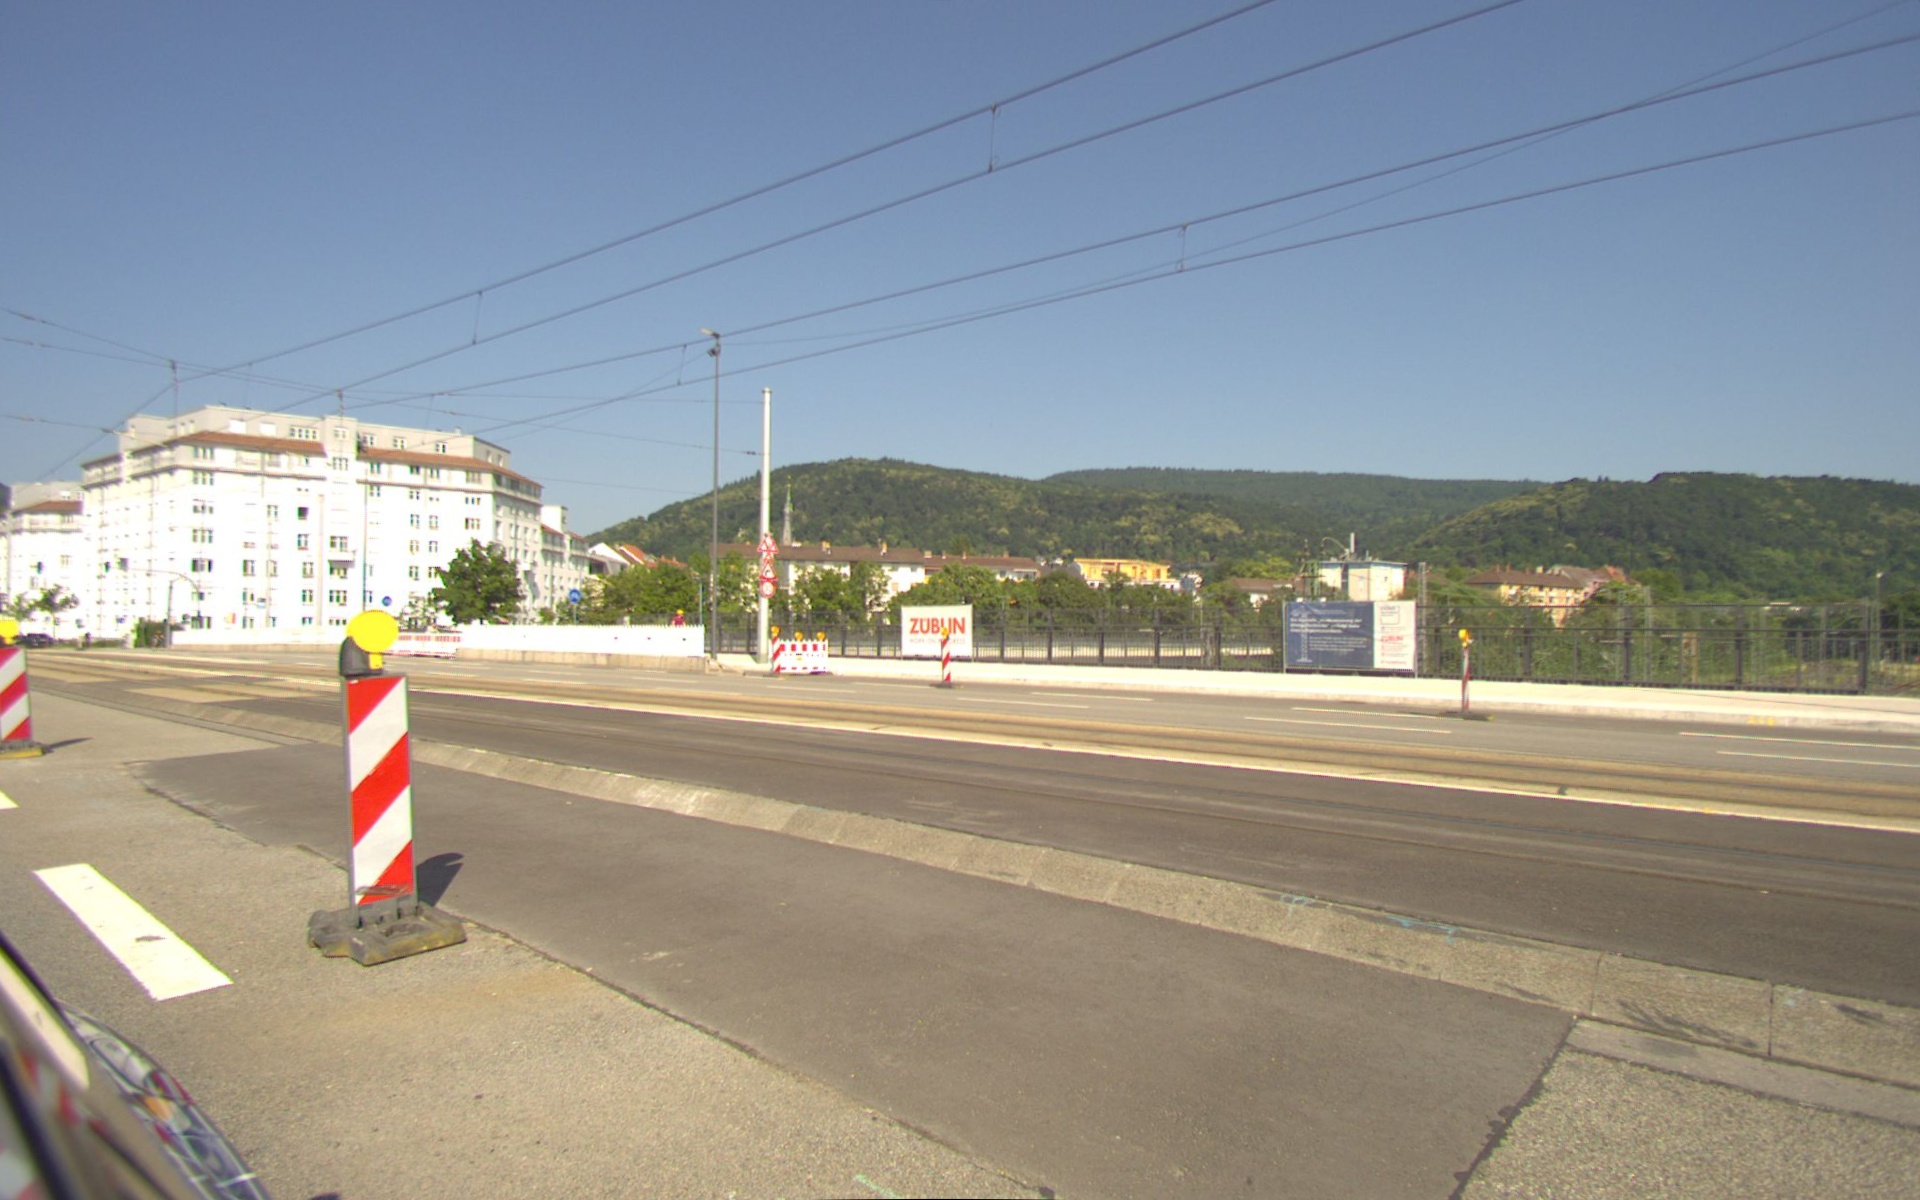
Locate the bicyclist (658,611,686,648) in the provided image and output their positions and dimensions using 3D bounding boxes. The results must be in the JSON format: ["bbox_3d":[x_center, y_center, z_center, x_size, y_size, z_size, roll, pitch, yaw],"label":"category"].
[{"bbox_3d":[-12.386,1.262,43.485,0.816,1.530,0.847,-1,-1,40],"label":"bicyclist"}]

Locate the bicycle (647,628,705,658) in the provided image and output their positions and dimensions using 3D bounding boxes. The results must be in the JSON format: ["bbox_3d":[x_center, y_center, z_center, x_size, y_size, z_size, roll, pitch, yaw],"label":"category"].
[{"bbox_3d":[-12.177,1.804,43.308,3.070,1.204,0.847,-1,-1,40],"label":"bicycle"}]
